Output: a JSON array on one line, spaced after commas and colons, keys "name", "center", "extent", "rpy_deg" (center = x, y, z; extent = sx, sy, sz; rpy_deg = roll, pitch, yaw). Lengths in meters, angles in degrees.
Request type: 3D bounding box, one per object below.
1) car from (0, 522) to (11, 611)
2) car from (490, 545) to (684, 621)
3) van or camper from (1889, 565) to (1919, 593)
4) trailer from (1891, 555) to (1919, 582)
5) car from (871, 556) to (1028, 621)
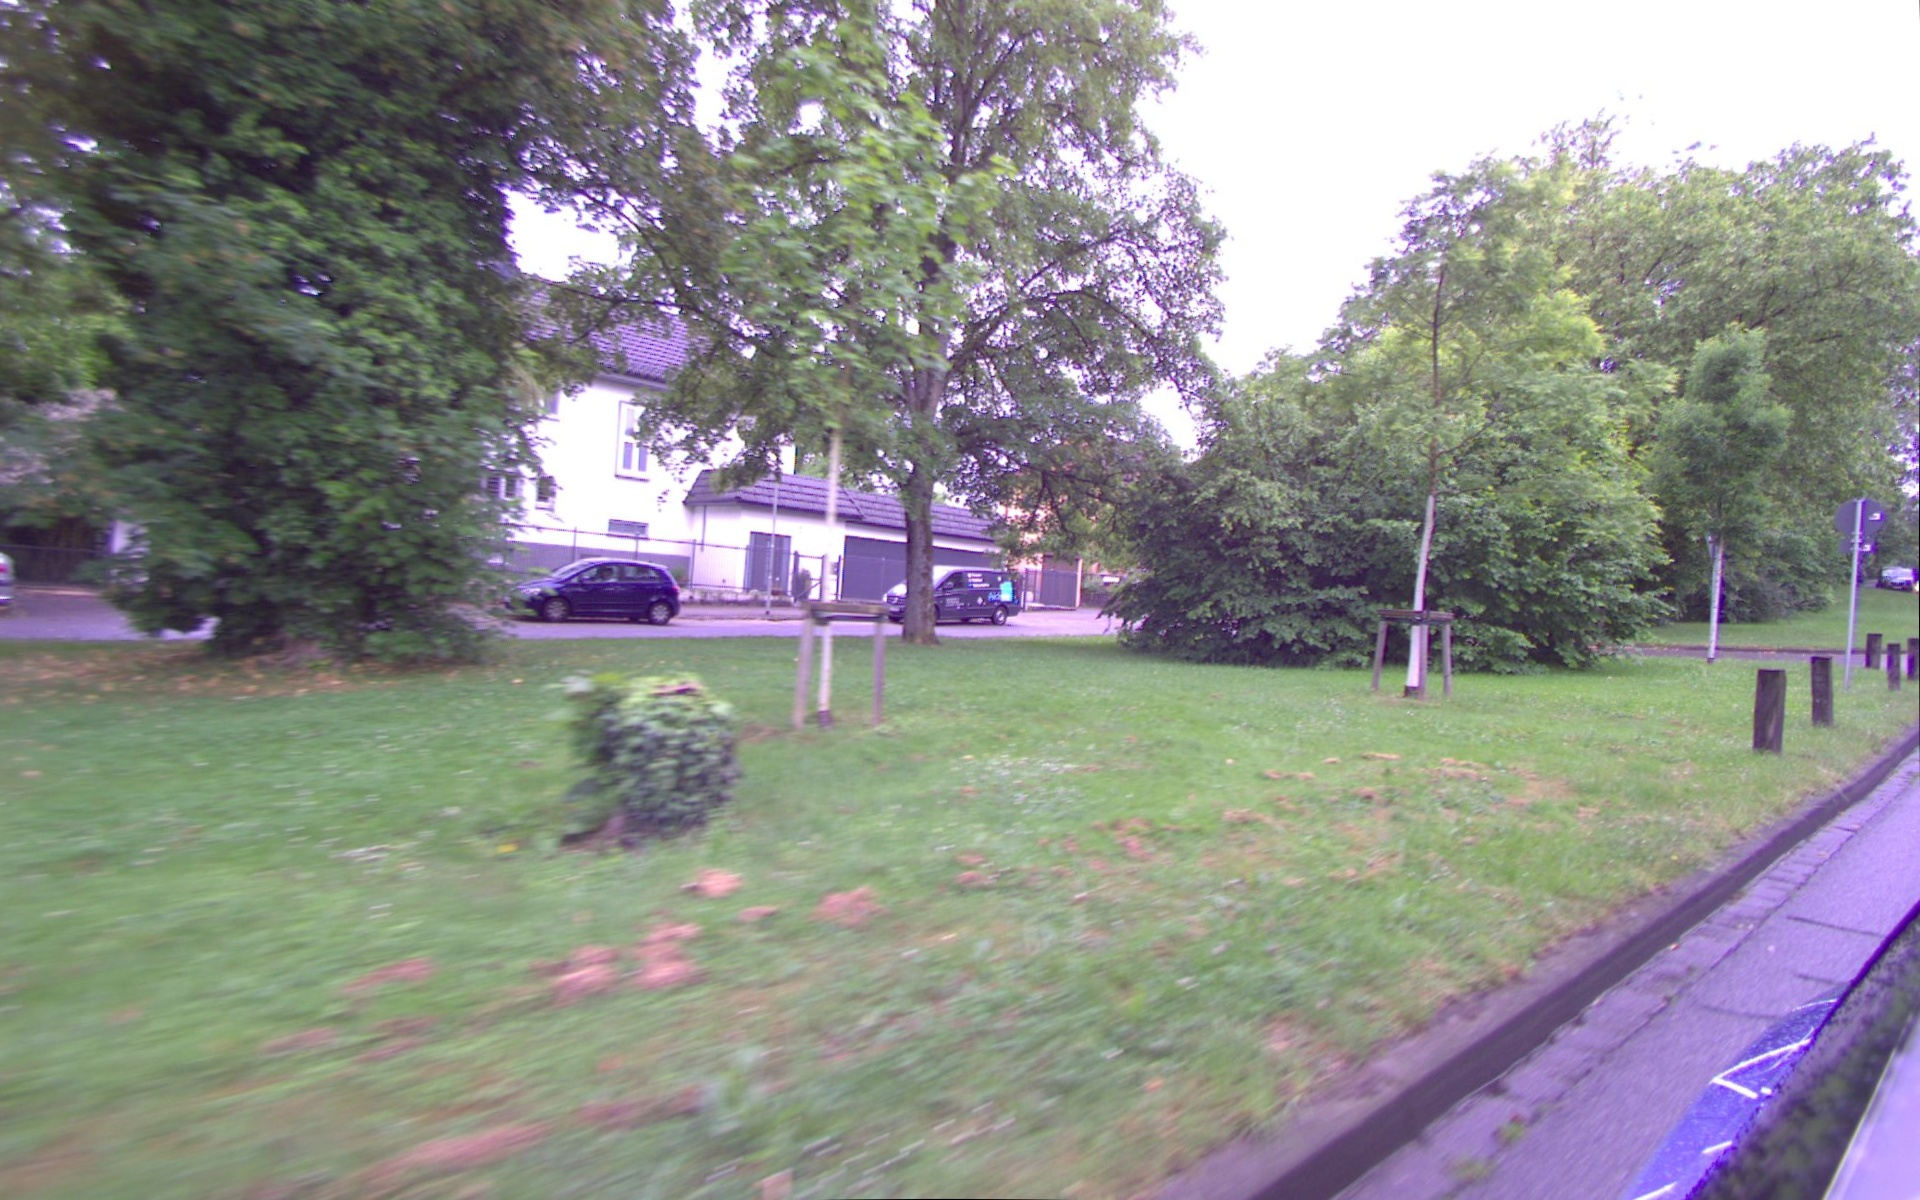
[{"name": "car", "center": [-17.527, -0.624, 15.991], "extent": [3.647, 1.392, 1.684], "rpy_deg": [1, 4, -44]}, {"name": "car", "center": [-8.968, -0.400, 24.527], "extent": [3.968, 1.644, 1.904], "rpy_deg": [1, 3, -44]}, {"name": "van or camper", "center": [71.049, -1.592, 75.814], "extent": [1.993, 1.891, 5.580], "rpy_deg": [5, 4, 42]}, {"name": "trailer", "center": [74.385, -2.483, 79.457], "extent": [1.696, 2.078, 3.892], "rpy_deg": [4, 4, 42]}, {"name": "car", "center": [-0.275, -0.373, 33.109], "extent": [4.985, 1.901, 2.162], "rpy_deg": [1, 3, -44]}]
